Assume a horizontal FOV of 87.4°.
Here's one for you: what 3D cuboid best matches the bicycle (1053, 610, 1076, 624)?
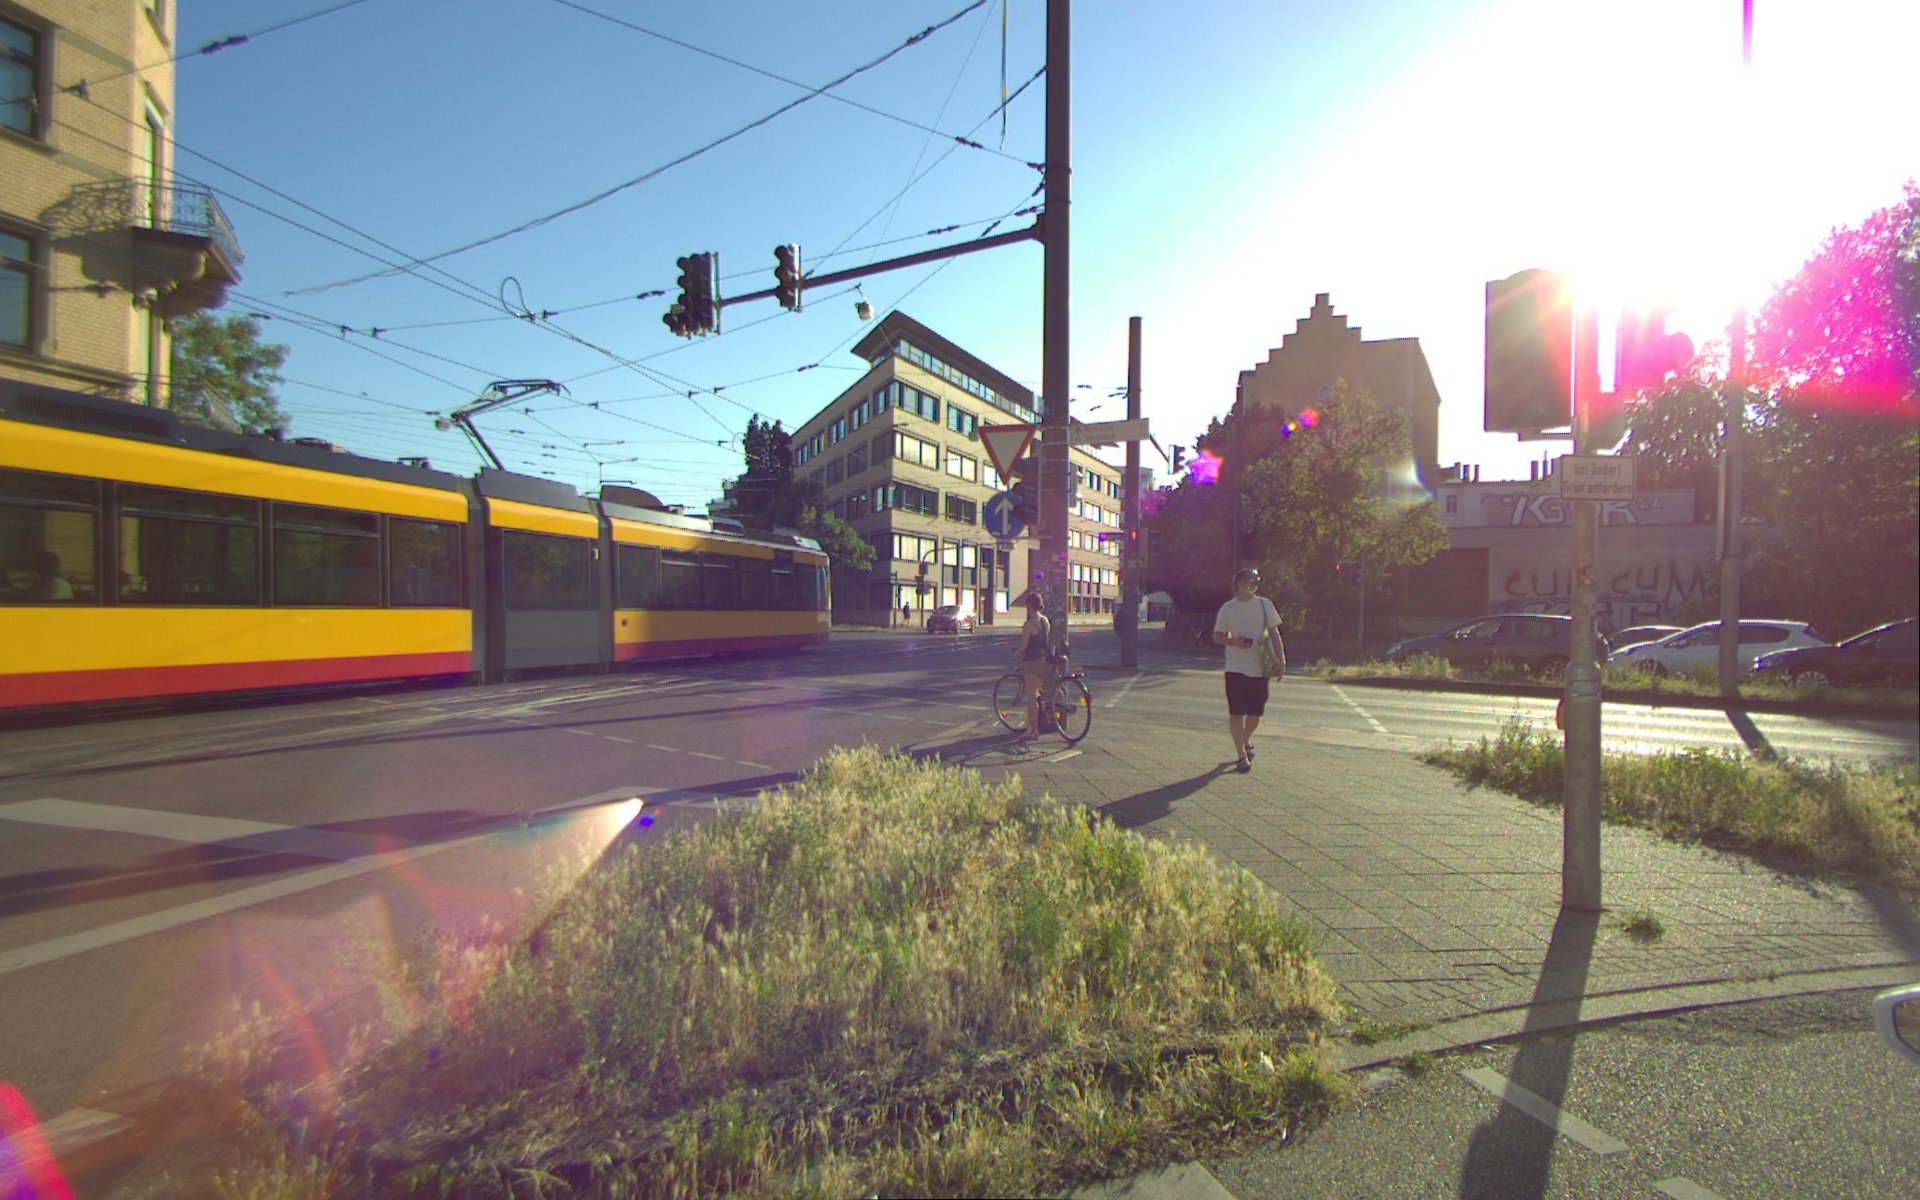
[{"bbox_3d":[9.122,1.482,87.658,0.994,1.150,2.823,2,0,28],"label":"bicycle"}]

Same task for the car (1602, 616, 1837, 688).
[{"bbox_3d":[15.975,1.036,21.306,3.833,1.337,1.717,0,-1,38],"label":"car"}]

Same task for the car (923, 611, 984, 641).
[{"bbox_3d":[-0.333,1.491,58.072,1.787,1.636,4.462,1,-1,25],"label":"car"}]

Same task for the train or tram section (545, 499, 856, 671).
[{"bbox_3d":[-6.078,-0.228,26.581,2.812,3.554,11.303,1,-1,14],"label":"train or tram section"}]

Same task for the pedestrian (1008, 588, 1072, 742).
[{"bbox_3d":[0.886,0.708,11.205,0.484,1.653,0.521,1,0,-32],"label":"pedestrian"}]

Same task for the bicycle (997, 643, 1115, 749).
[{"bbox_3d":[1.035,1.027,11.239,0.395,1.043,1.658,1,-1,-31],"label":"bicycle"}]

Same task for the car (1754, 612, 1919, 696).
[{"bbox_3d":[15.894,0.892,16.600,4.310,1.313,1.716,0,-1,40],"label":"car"}]

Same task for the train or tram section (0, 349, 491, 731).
[{"bbox_3d":[-10.309,-0.574,9.697,2.812,3.554,13.022,1,-1,14],"label":"train or tram section"}]

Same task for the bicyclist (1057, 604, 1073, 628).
[{"bbox_3d":[9.139,1.413,87.659,0.976,2.040,1.249,1,0,28],"label":"bicyclist"}]

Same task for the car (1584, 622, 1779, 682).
[{"bbox_3d":[17.887,1.251,25.026,3.833,1.313,1.717,0,-1,38],"label":"car"}]

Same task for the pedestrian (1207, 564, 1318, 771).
[{"bbox_3d":[2.782,0.597,9.331,0.893,1.812,0.828,1,0,12],"label":"pedestrian"}]

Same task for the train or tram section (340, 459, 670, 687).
[{"bbox_3d":[-8.057,-0.398,18.580,2.812,3.554,5.306,1,-1,14],"label":"train or tram section"}]

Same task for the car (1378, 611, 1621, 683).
[{"bbox_3d":[11.123,0.917,20.876,4.186,1.313,1.715,0,-1,41],"label":"car"}]
